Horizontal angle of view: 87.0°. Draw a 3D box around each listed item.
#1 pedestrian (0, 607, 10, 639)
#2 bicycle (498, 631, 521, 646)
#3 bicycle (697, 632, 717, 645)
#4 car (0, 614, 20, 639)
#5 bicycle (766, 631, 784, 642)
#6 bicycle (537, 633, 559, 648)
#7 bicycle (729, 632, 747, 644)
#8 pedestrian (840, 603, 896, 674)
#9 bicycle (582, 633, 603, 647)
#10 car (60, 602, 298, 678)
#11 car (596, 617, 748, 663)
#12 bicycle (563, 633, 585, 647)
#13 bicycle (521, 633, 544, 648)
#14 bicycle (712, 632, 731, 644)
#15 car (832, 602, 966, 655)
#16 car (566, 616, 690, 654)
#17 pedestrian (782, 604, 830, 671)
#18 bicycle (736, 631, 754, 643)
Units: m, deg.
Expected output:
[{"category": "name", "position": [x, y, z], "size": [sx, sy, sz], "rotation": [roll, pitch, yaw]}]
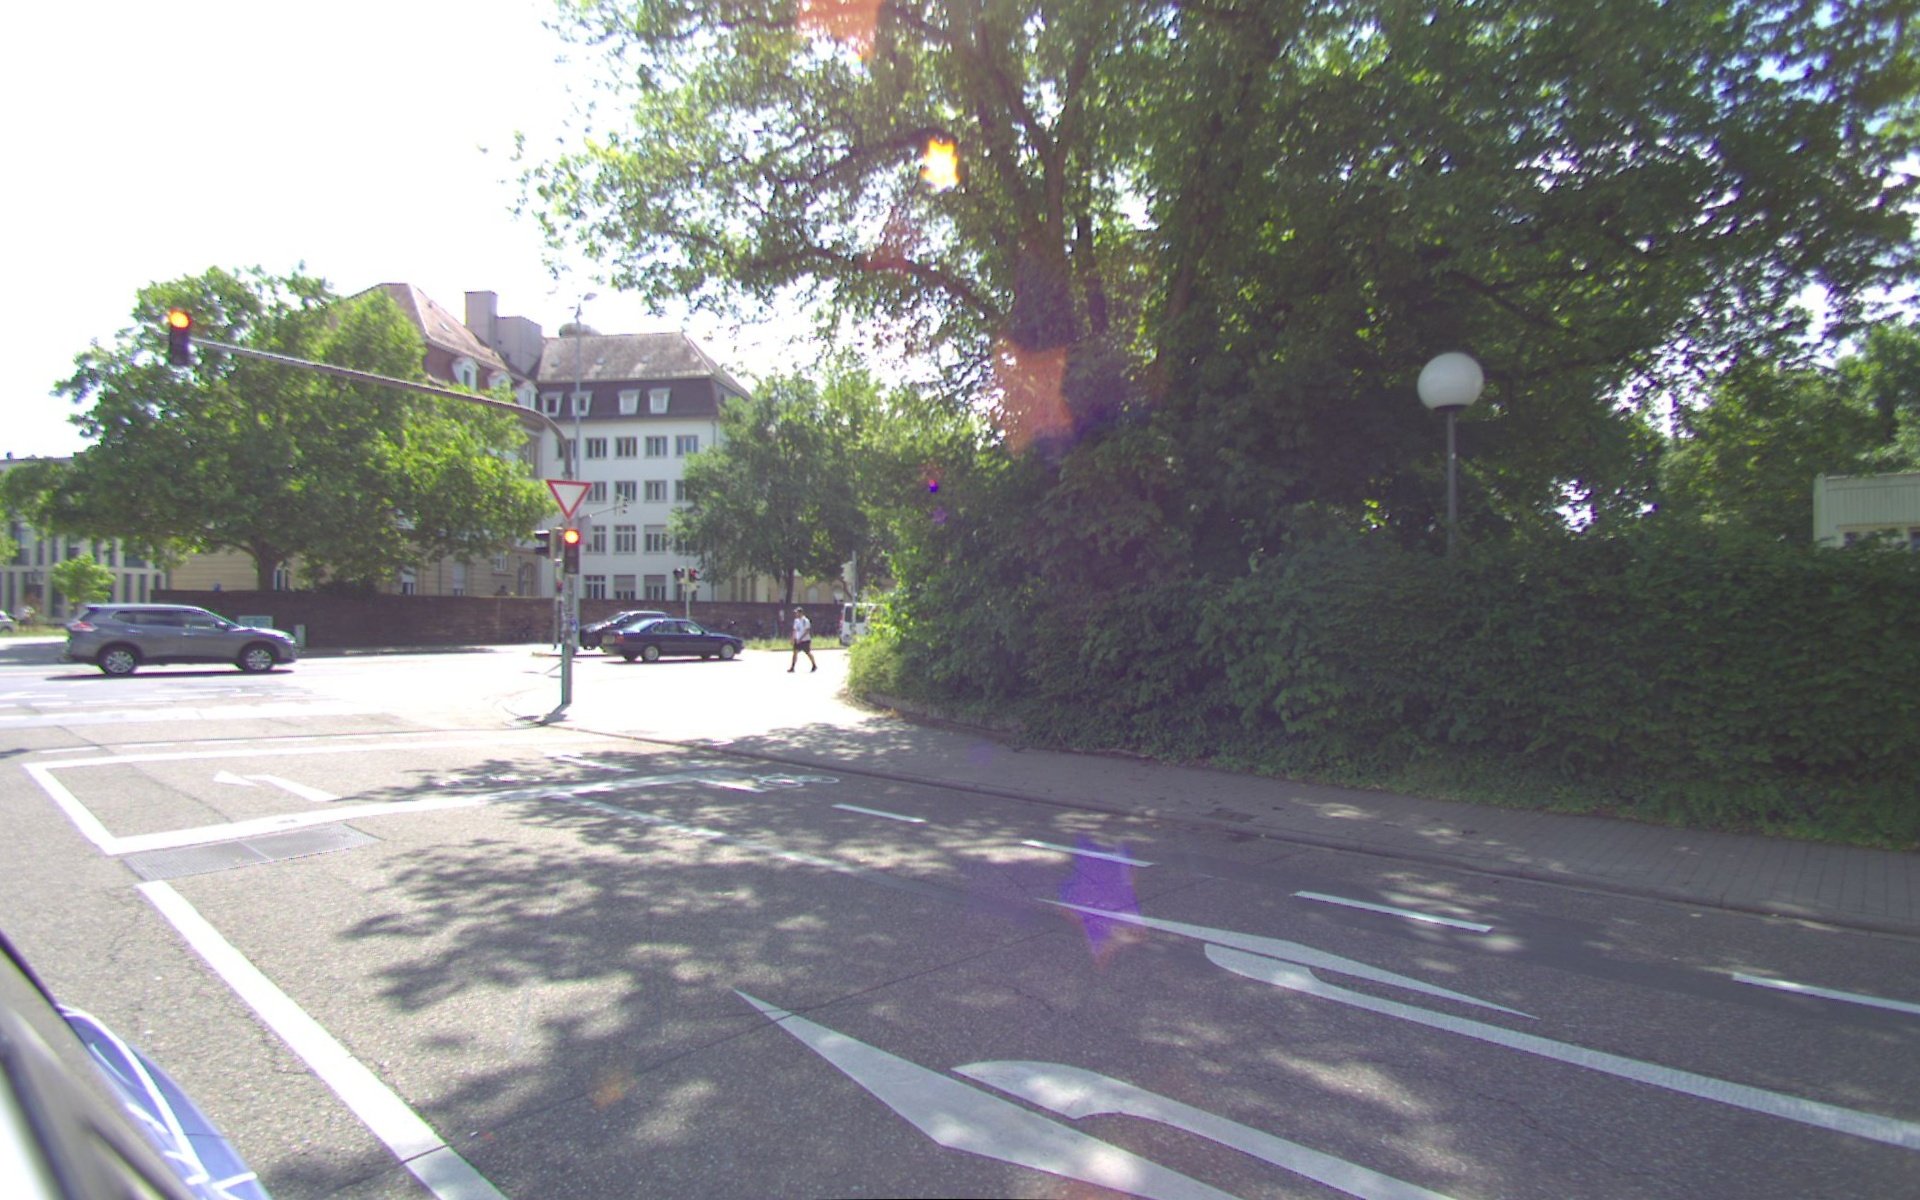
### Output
[{"category": "pedestrian", "position": [-50.783, 1.226, 53.013], "size": [1.278, 1.663, 1.329], "rotation": [1, -1, -35]}, {"category": "bicycle", "position": [-21.970, 1.881, 49.386], "size": [0.999, 0.687, 0.406], "rotation": [2, 0, 18]}, {"category": "bicycle", "position": [-14.765, 2.233, 59.075], "size": [0.994, 0.687, 0.408], "rotation": [2, 0, 5]}, {"category": "car", "position": [-54.445, 1.470, 55.098], "size": [1.979, 1.316, 4.479], "rotation": [2, 0, 11]}, {"category": "bicycle", "position": [-11.636, 2.296, 63.664], "size": [0.994, 0.687, 0.408], "rotation": [2, 0, 5]}, {"category": "bicycle", "position": [-20.789, 2.028, 51.087], "size": [0.999, 0.687, 0.406], "rotation": [2, 0, 18]}, {"category": "bicycle", "position": [-13.359, 2.281, 60.861], "size": [0.994, 0.687, 0.408], "rotation": [2, 0, 5]}, {"category": "pedestrian", "position": [-2.231, 0.921, 24.521], "size": [0.856, 1.639, 1.007], "rotation": [-2, -1, 39]}, {"category": "bicycle", "position": [-19.326, 2.079, 53.180], "size": [0.999, 0.687, 0.406], "rotation": [2, 0, 18]}, {"category": "car", "position": [-18.897, 0.930, 24.612], "size": [4.410, 1.691, 1.827], "rotation": [1, -1, -43]}, {"category": "car", "position": [-9.470, 1.292, 33.511], "size": [4.541, 1.397, 1.700], "rotation": [2, -1, -41]}, {"category": "bicycle", "position": [-19.874, 2.059, 52.114], "size": [0.999, 0.687, 0.406], "rotation": [2, 0, 18]}, {"category": "bicycle", "position": [-21.255, 2.012, 50.342], "size": [0.999, 0.687, 0.406], "rotation": [2, 0, 18]}, {"category": "bicycle", "position": [-14.108, 2.255, 59.820], "size": [0.994, 0.687, 0.408], "rotation": [2, 0, 5]}, {"category": "car", "position": [-2.356, 1.098, 40.041], "size": [5.113, 1.970, 2.015], "rotation": [1, -1, -42]}, {"category": "car", "position": [-14.018, 1.467, 42.916], "size": [2.000, 1.540, 4.649], "rotation": [-1, -2, 42]}, {"category": "pedestrian", "position": [-4.085, 0.992, 26.816], "size": [0.917, 1.714, 0.854], "rotation": [2, -3, -44]}, {"category": "bicycle", "position": [-13.061, 2.276, 61.591], "size": [0.994, 0.687, 0.408], "rotation": [2, 0, 5]}]
